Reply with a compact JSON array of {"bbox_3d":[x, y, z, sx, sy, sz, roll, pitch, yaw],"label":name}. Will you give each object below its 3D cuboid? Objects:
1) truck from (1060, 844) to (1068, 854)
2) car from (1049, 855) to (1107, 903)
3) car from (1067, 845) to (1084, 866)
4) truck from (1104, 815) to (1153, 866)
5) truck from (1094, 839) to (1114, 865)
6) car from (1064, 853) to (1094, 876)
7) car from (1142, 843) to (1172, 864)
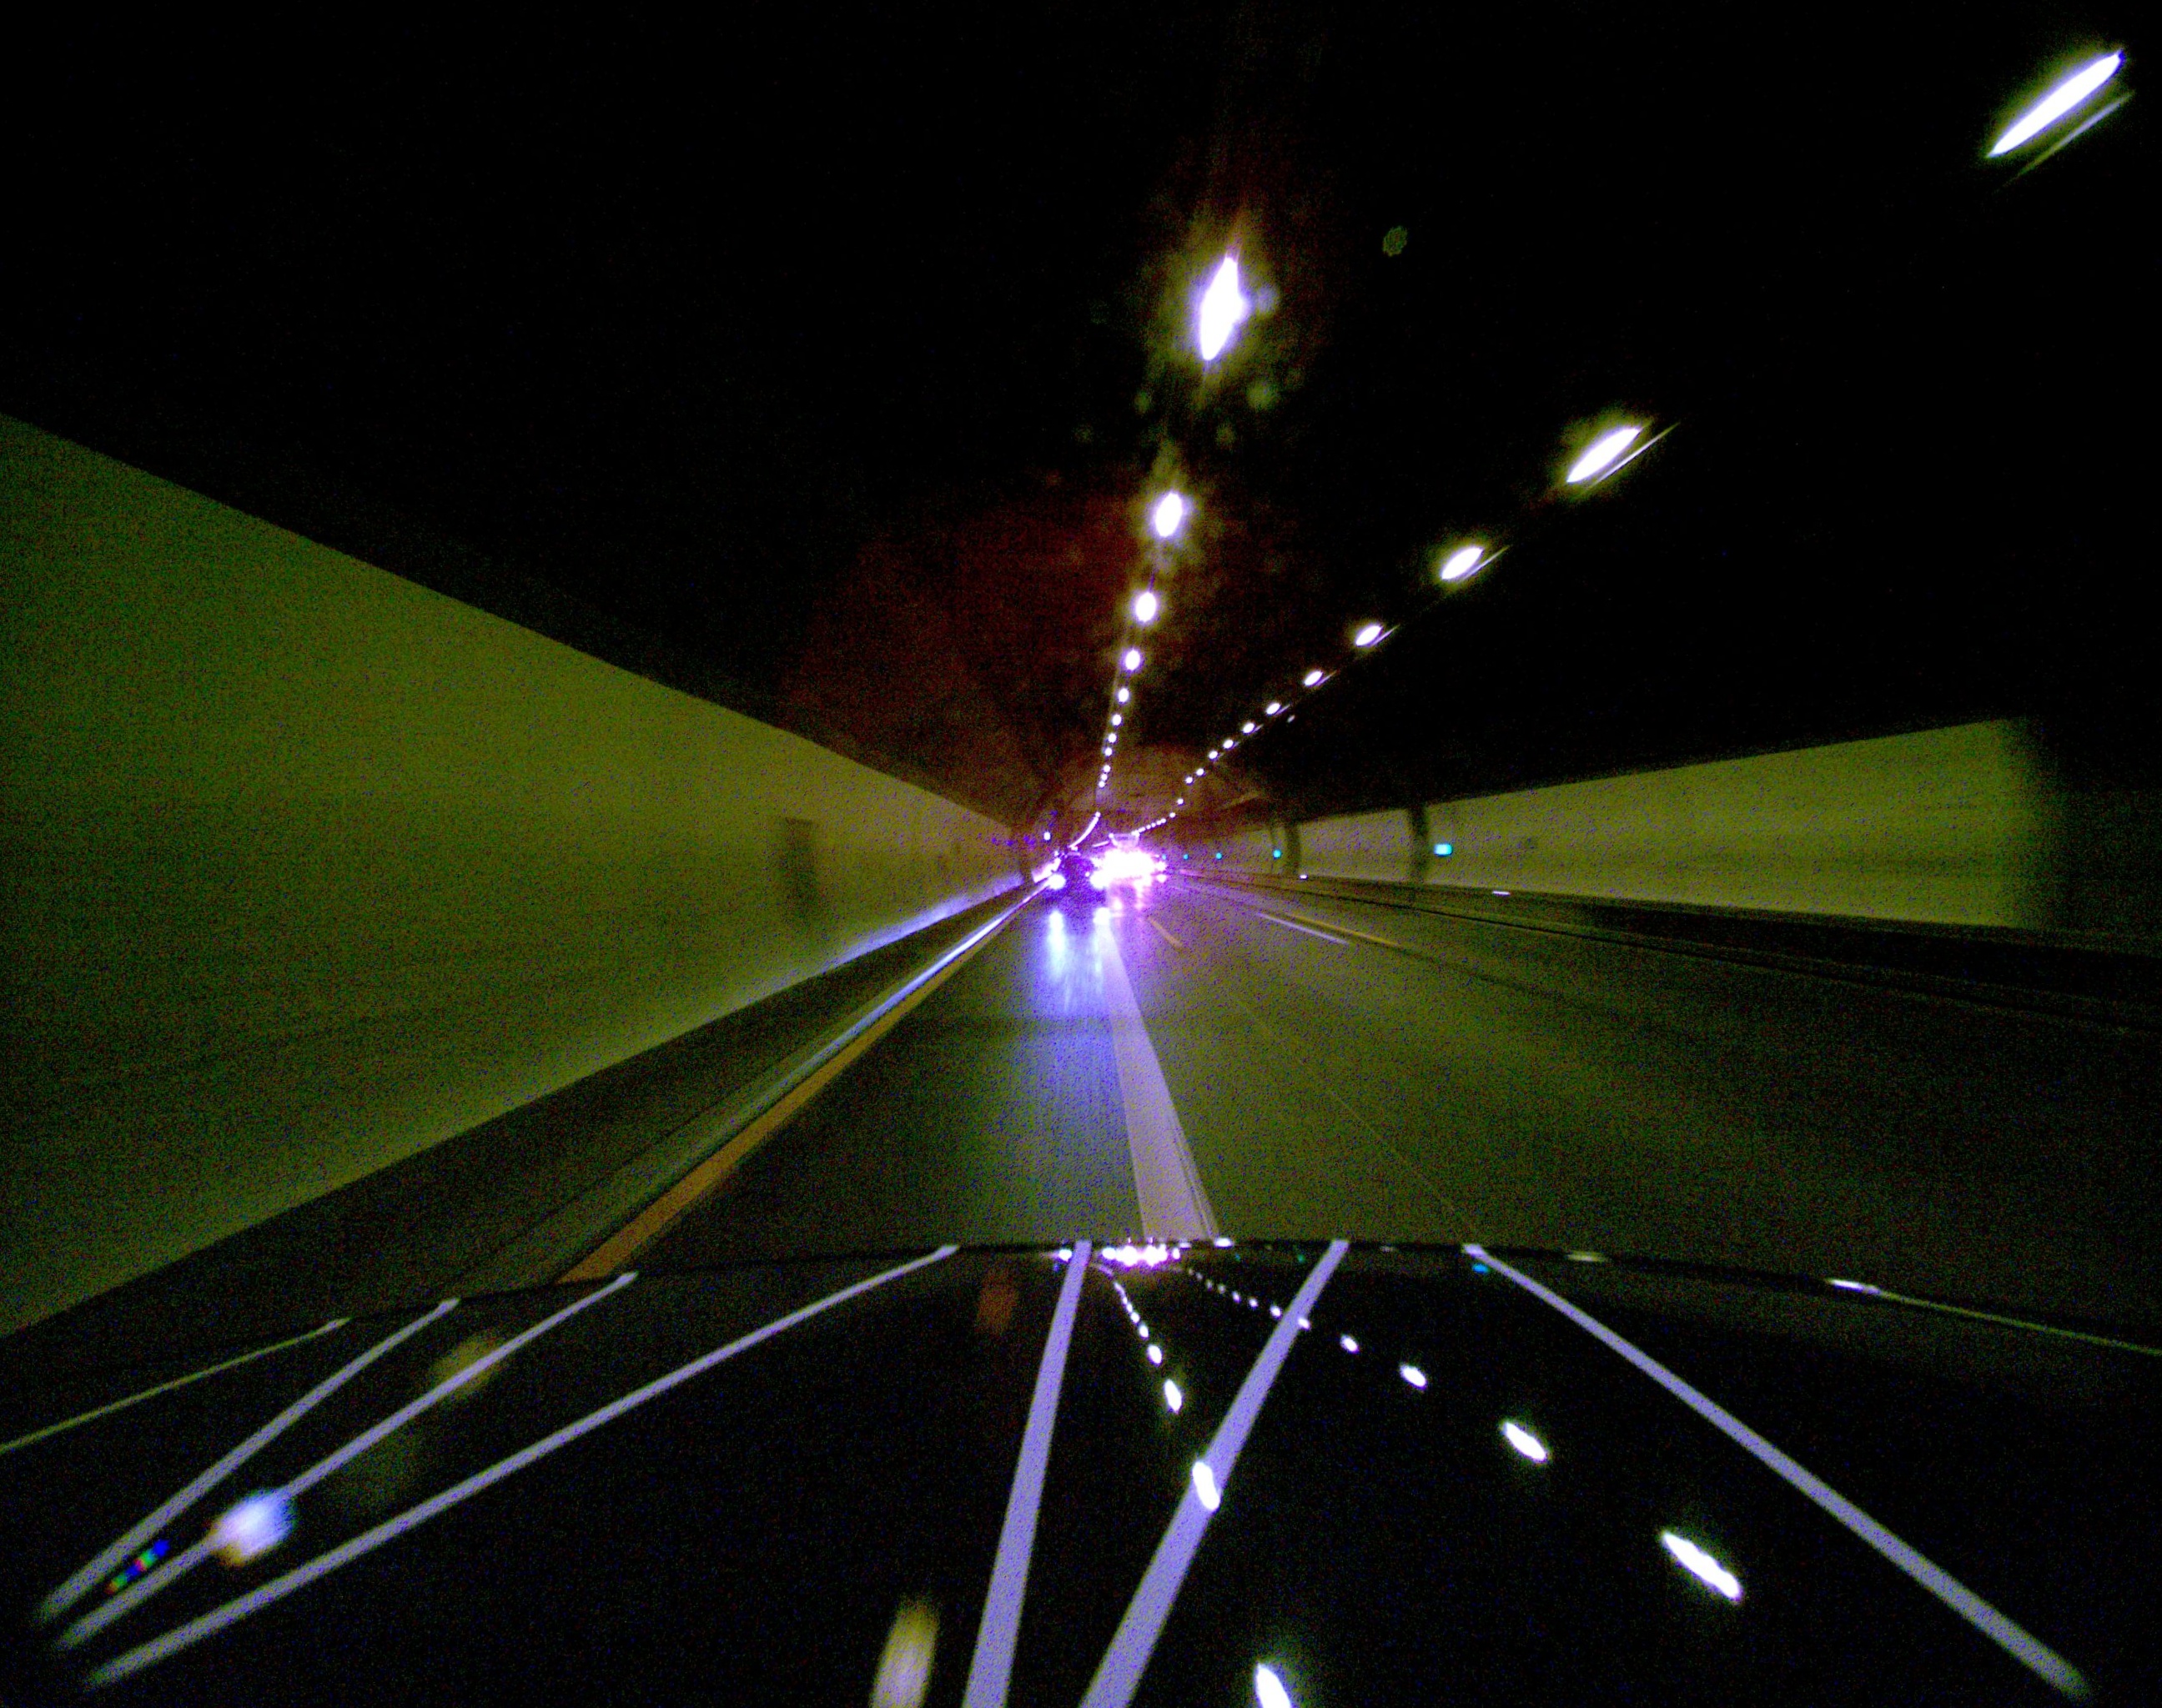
[{"bbox_3d":[-5.759,-1.707,265.968,2.208,3.449,11.764,-3,1,1],"label":"truck"},{"bbox_3d":[-0.186,0.848,27.663,1.826,1.469,4.520,-4,1,-3],"label":"car"},{"bbox_3d":[-0.788,0.161,108.988,1.999,2.710,6.272,-4,1,-3],"label":"car"},{"bbox_3d":[3.304,-0.905,55.255,2.534,3.314,7.713,-3,1,-3],"label":"truck"},{"bbox_3d":[2.941,-0.259,97.197,2.162,3.098,6.029,-4,1,0],"label":"truck"},{"bbox_3d":[-0.175,0.784,57.871,1.999,1.531,4.740,-4,1,-3],"label":"car"},{"bbox_3d":[6.311,-0.078,63.315,1.998,1.531,4.850,-4,1,1],"label":"car"}]
